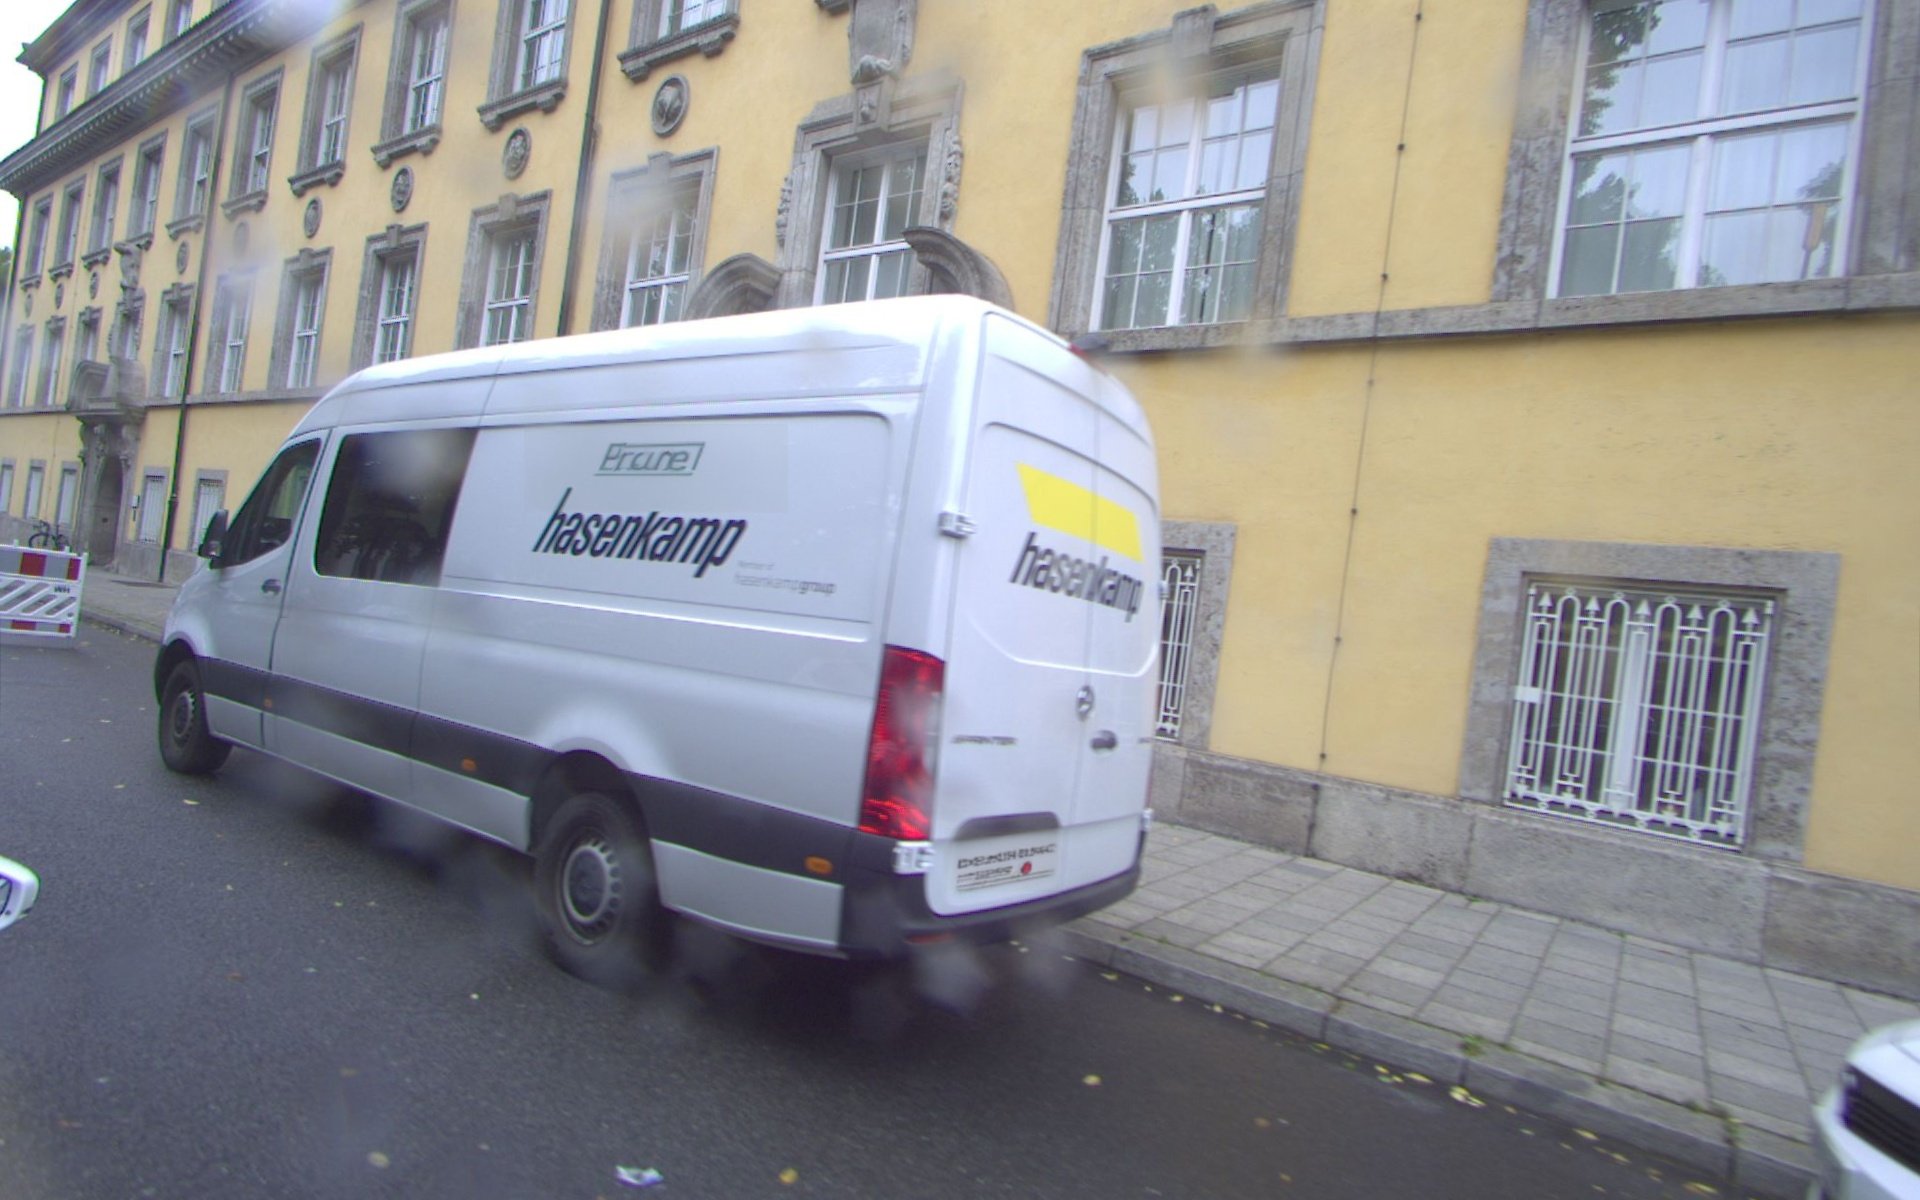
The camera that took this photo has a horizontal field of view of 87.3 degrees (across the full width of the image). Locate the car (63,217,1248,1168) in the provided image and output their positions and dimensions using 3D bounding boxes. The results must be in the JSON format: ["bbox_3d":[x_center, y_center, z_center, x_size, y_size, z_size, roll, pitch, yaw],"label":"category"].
[{"bbox_3d":[-2.489,0.044,5.813,7.493,2.704,2.057,6,-2,34],"label":"car"}]

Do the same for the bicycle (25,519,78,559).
[{"bbox_3d":[-26.908,-1.808,29.787,2.025,1.018,0.680,6,-2,36],"label":"bicycle"}]

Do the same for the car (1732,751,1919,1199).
[{"bbox_3d":[3.983,1.340,1.546,4.187,1.475,1.873,6,-2,34],"label":"car"}]
